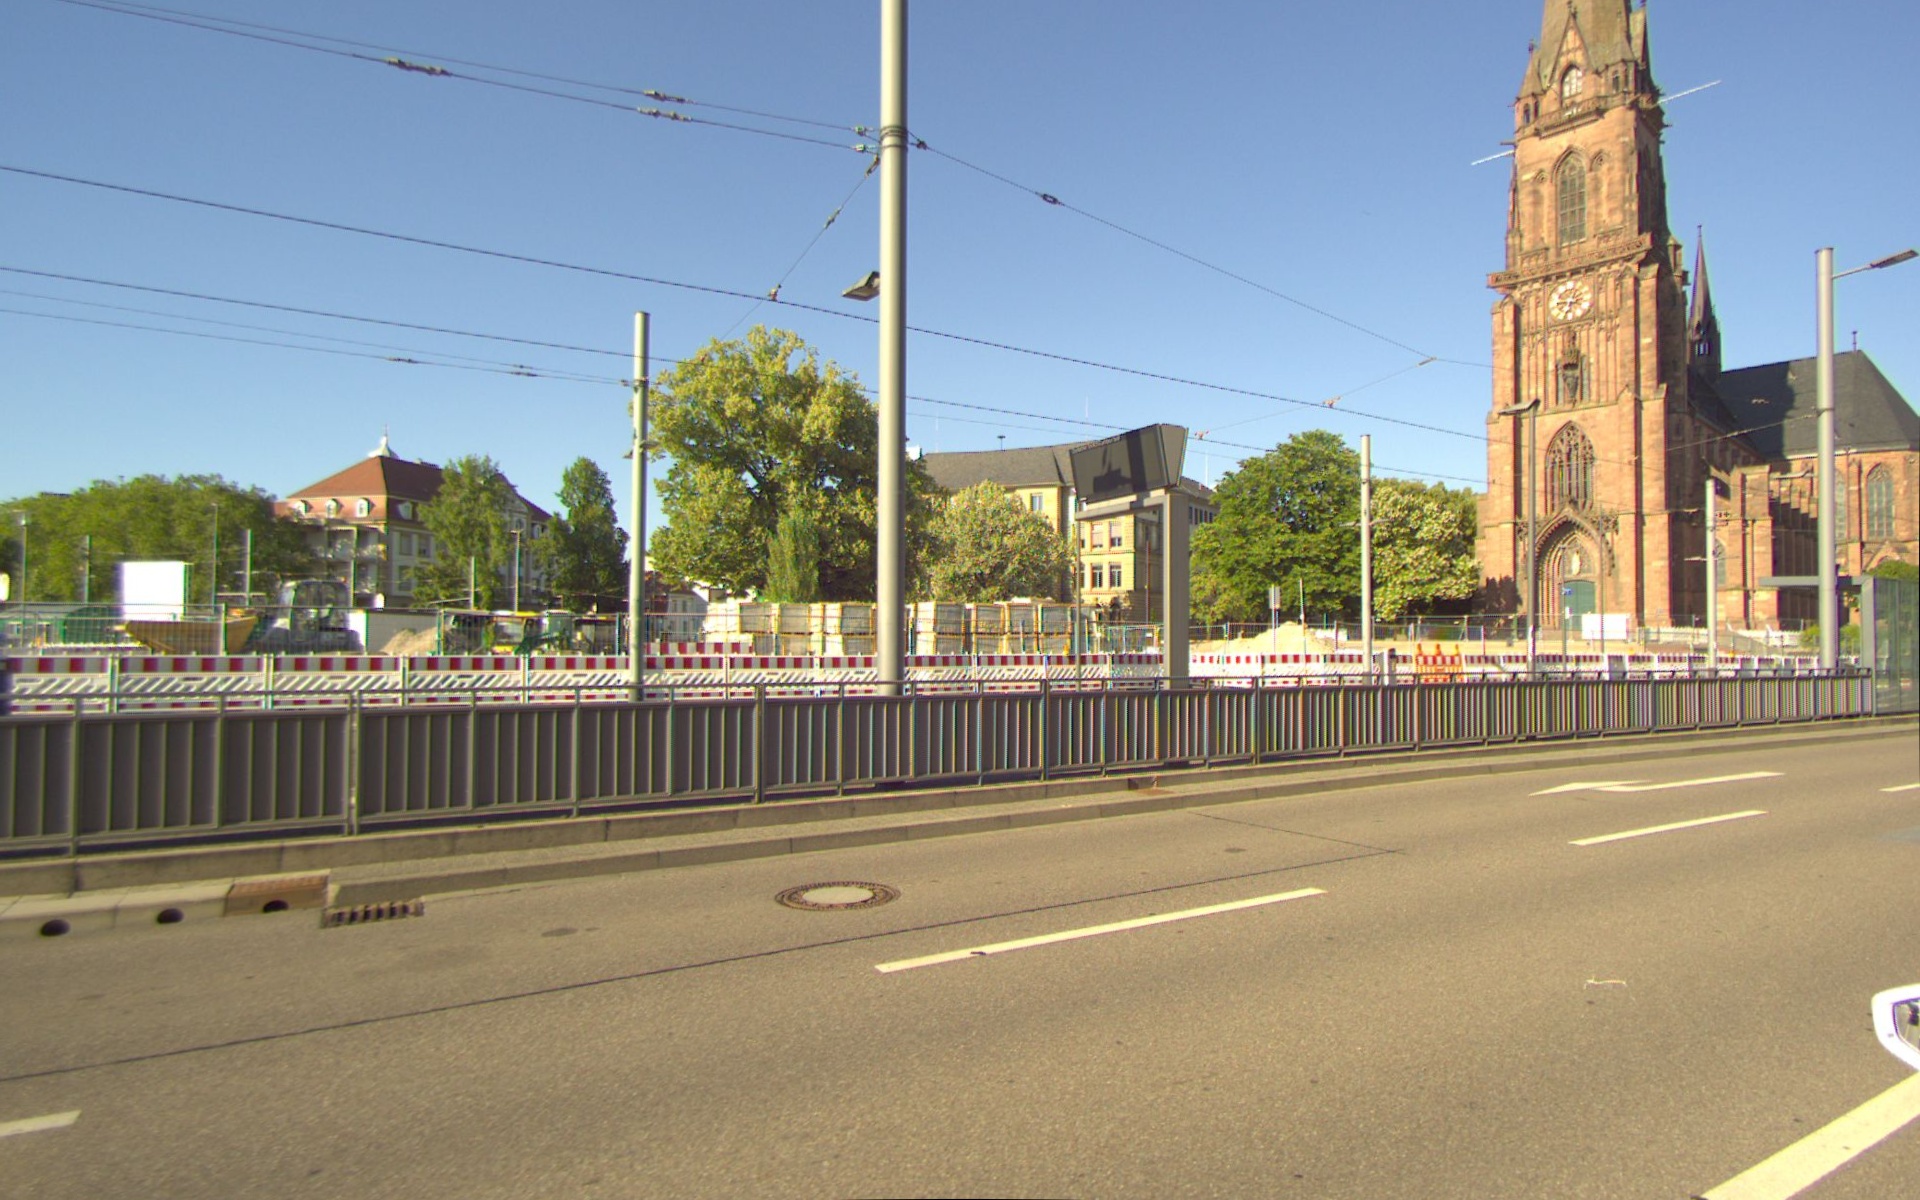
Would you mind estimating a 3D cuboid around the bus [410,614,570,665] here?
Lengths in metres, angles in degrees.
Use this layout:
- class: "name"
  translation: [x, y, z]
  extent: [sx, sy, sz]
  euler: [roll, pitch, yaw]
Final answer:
- class: "bus"
  translation: [-33.474, 2.739, 72.559]
  extent: [3.186, 3.236, 12.668]
  euler: [-3, -2, 14]

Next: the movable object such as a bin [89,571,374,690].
- class: "movable object such as a bin"
  translation: [-17.443, 0.706, 24.252]
  extent: [2.598, 2.559, 5.141]
  euler: [-4, -2, 42]

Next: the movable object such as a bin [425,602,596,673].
- class: "movable object such as a bin"
  translation: [-11.326, 0.926, 25.392]
  extent: [3.820, 1.608, 1.167]
  euler: [-2, -2, -31]
